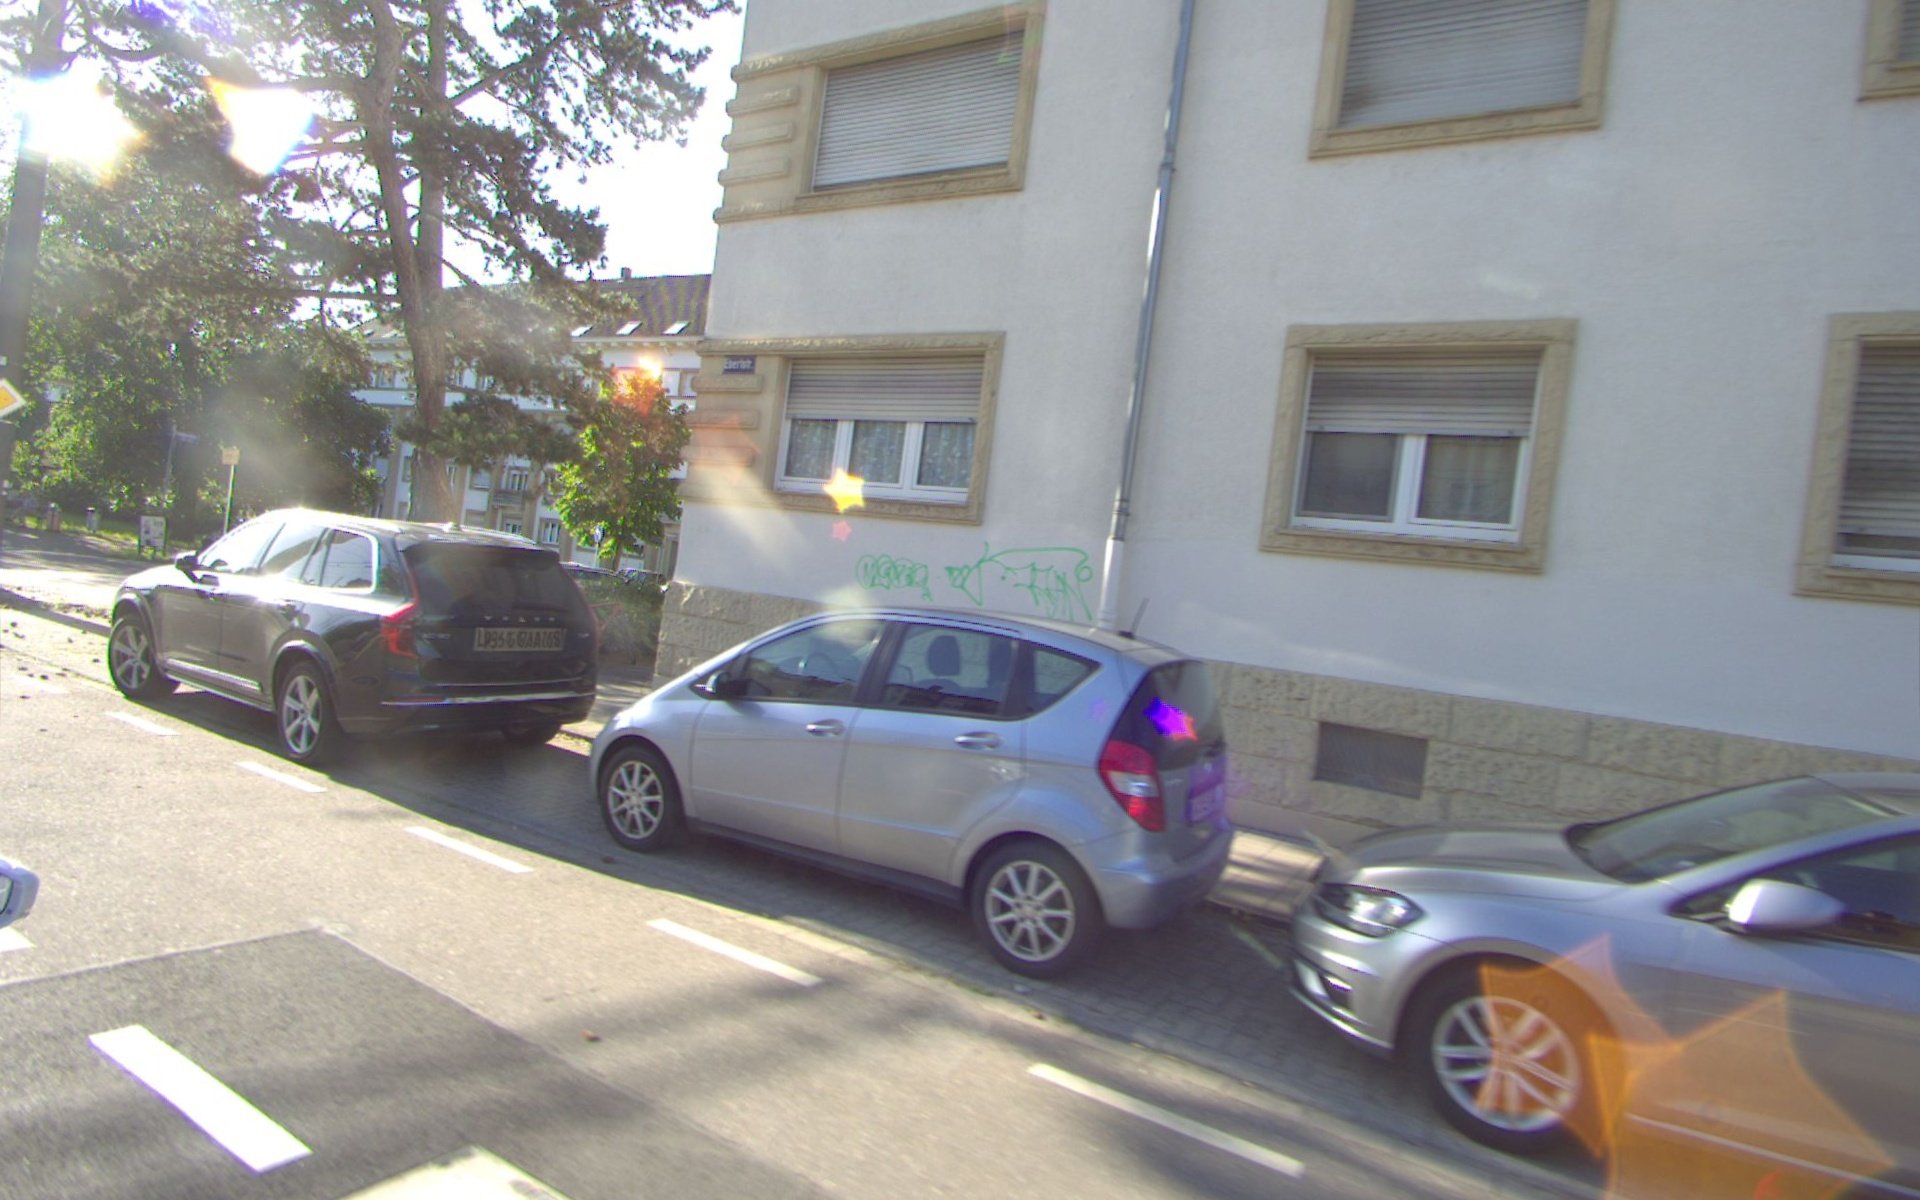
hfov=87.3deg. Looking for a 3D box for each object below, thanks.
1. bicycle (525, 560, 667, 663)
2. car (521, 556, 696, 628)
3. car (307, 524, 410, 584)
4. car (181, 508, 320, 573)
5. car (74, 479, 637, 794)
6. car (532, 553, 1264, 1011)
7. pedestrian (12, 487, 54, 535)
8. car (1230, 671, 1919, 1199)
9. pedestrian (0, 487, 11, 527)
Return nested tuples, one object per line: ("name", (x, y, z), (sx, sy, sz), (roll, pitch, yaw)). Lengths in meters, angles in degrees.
("bicycle", (-5.130, 0.196, 14.307), (0.555, 1.317, 1.831), (7, 1, 32))
("car", (-9.905, -0.181, 28.514), (4.267, 1.518, 1.754), (8, -3, -36))
("car", (-20.554, -1.579, 34.343), (3.747, 1.592, 1.452), (8, 1, 34))
("car", (-22.601, -1.875, 32.055), (3.737, 1.512, 1.641), (8, 0, 19))
("car", (-5.110, 0.112, 8.270), (4.851, 1.739, 1.879), (7, 2, 32))
("car", (-0.439, 0.765, 5.823), (3.828, 1.599, 1.596), (7, 1, 28))
("pedestrian", (-29.562, -2.827, 32.108), (0.681, 1.388, 0.749), (10, -3, -33))
("car", (3.290, 1.291, 3.522), (4.164, 1.497, 1.513), (7, 1, 28))
("pedestrian", (-30.401, -2.952, 31.707), (0.401, 1.239, 0.754), (10, -3, -32))
